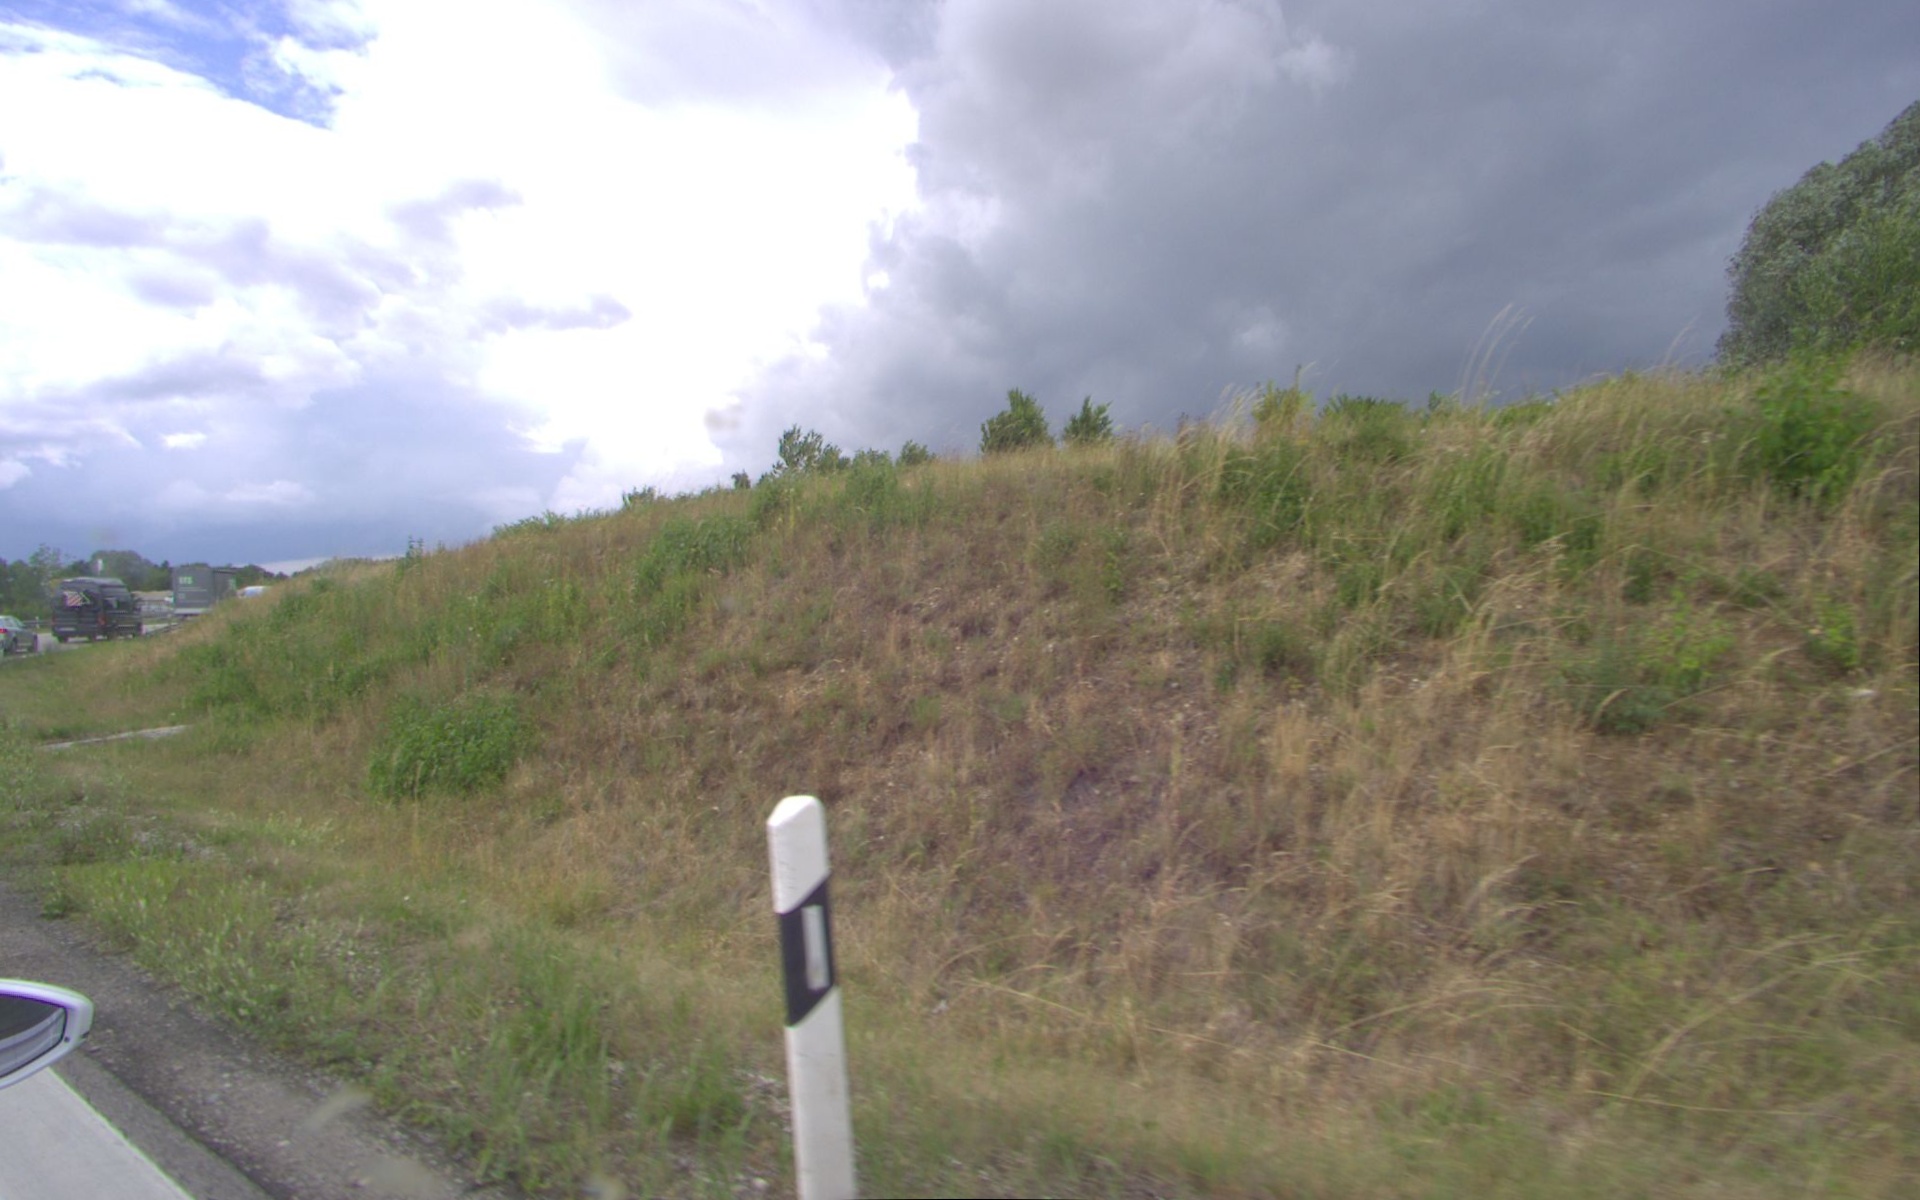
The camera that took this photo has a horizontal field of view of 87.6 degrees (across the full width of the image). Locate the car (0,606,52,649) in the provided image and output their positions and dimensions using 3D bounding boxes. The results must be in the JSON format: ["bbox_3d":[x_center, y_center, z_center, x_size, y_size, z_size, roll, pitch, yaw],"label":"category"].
[{"bbox_3d":[-35.600,1.028,37.100,1.843,1.529,3.985,0,-1,-26],"label":"car"}]

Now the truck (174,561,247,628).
[{"bbox_3d":[-48.120,-0.259,64.433,2.199,3.955,6.003,0,-2,-21],"label":"truck"}]

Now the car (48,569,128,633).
[{"bbox_3d":[-40.100,0.118,46.174,2.082,2.832,3.979,1,-2,-31],"label":"car"}]
